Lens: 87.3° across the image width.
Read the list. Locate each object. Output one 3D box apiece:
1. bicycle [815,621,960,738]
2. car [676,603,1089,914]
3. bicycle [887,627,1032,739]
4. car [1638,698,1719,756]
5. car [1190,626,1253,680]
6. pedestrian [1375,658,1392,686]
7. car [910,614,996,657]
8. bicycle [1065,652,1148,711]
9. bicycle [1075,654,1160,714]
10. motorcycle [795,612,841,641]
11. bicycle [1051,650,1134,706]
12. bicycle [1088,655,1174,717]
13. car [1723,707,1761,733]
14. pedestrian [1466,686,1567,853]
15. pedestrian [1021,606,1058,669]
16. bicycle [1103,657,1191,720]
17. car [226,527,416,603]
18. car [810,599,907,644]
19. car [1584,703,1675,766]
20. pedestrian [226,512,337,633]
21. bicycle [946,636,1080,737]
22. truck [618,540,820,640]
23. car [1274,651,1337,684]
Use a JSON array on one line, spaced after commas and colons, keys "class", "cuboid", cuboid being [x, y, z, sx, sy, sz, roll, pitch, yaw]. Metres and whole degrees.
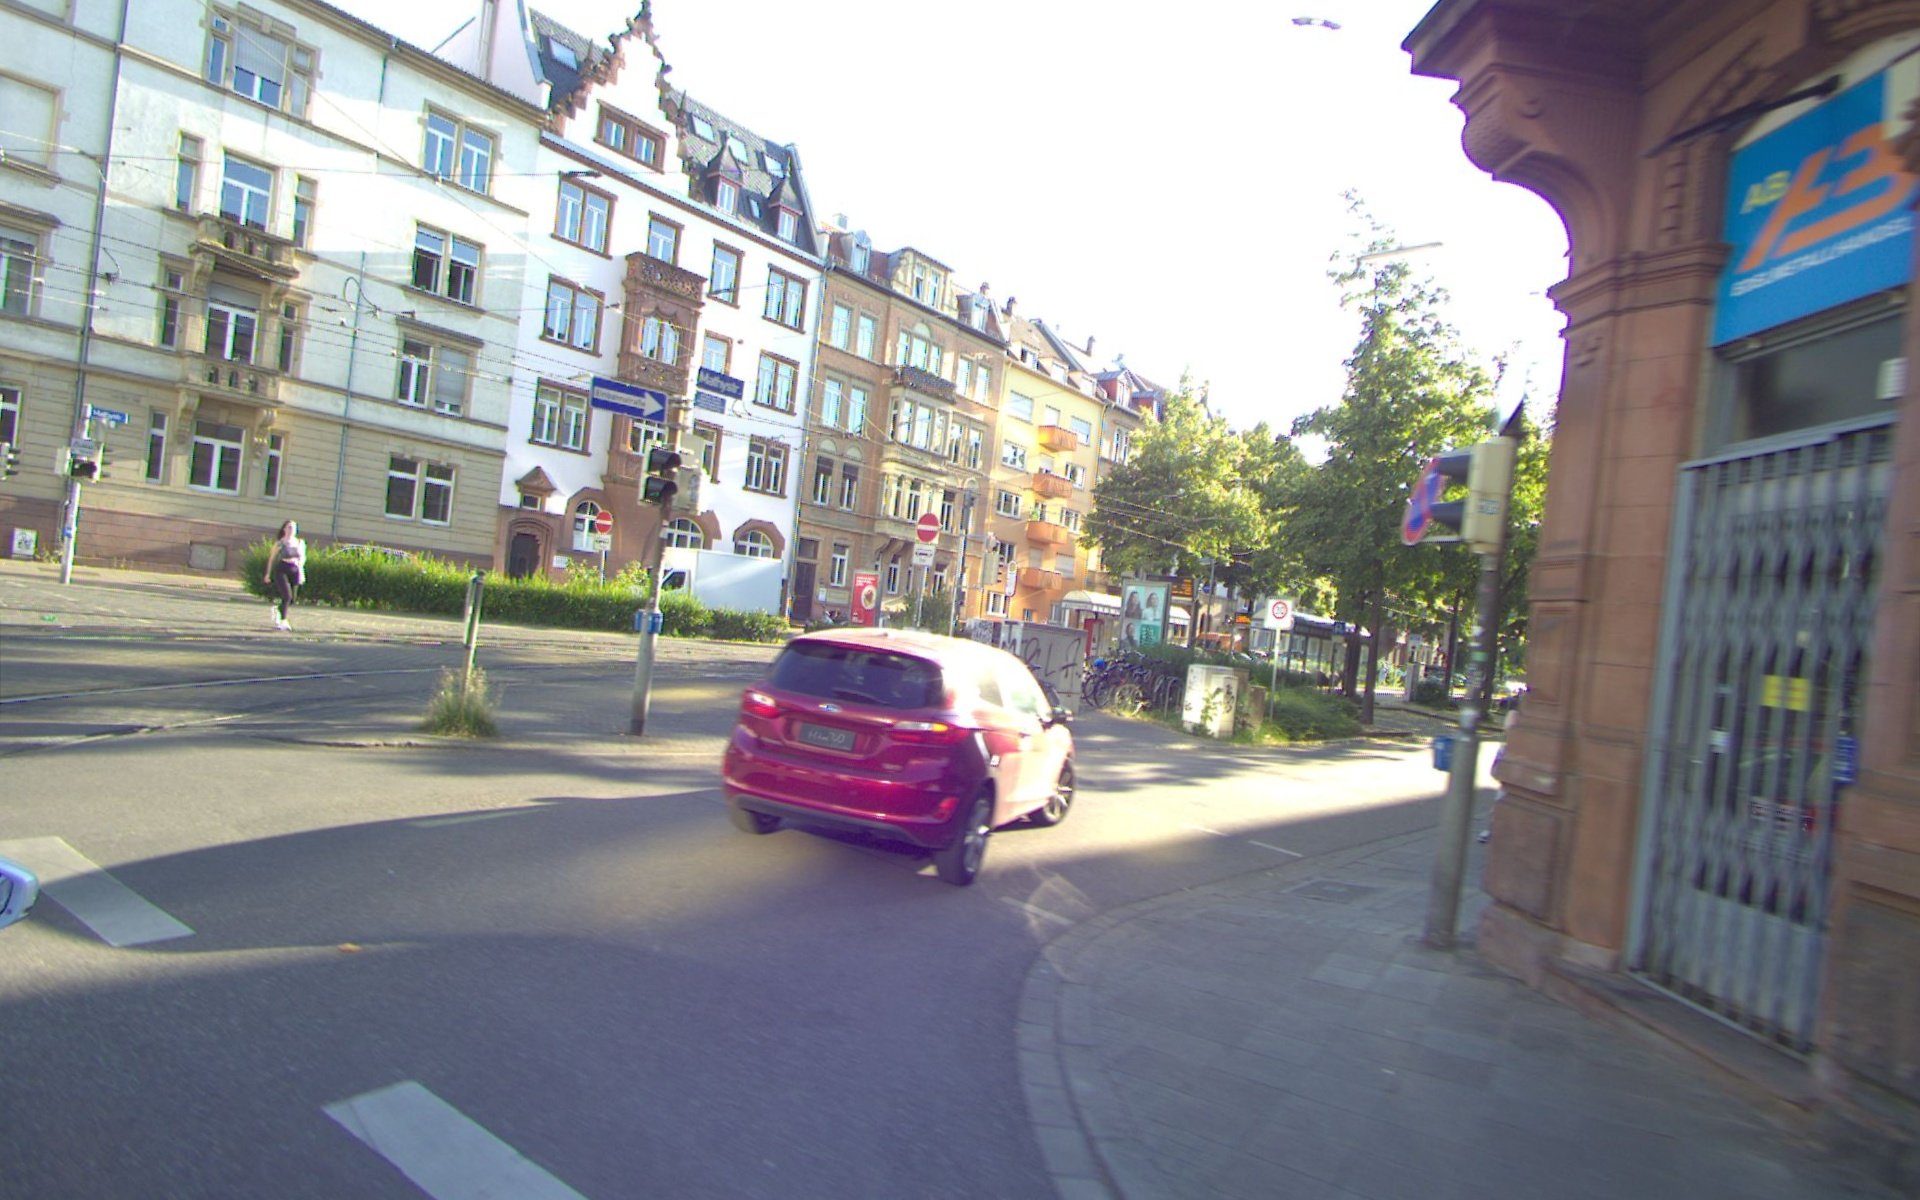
[{"class": "bicycle", "cuboid": [-1.023, 1.076, 13.908, 1.807, 1.279, 0.753, 10, 2, 38]}, {"class": "car", "cuboid": [-0.280, 0.992, 7.467, 1.666, 1.513, 3.583, 7, -2, 18]}, {"class": "bicycle", "cuboid": [-0.028, 1.203, 14.887, 1.938, 1.279, 0.753, 10, 2, 38]}, {"class": "car", "cuboid": [27.934, 4.916, 39.069, 1.949, 1.841, 3.963, 9, 0, 42]}, {"class": "car", "cuboid": [19.464, 3.965, 74.773, 1.918, 3.511, 5.673, 4, -2, 42]}, {"class": "pedestrian", "cuboid": [29.187, 4.963, 69.281, 0.674, 1.853, 0.602, 9, 3, 45]}, {"class": "car", "cuboid": [-0.316, 1.826, 51.697, 1.919, 1.792, 4.252, 4, -3, 42]}, {"class": "bicycle", "cuboid": [3.237, 1.802, 22.181, 1.780, 1.121, 0.496, 7, -1, -30]}, {"class": "bicycle", "cuboid": [3.385, 1.801, 21.524, 1.780, 1.121, 0.496, 7, -1, -30]}, {"class": "motorcycle", "cuboid": [-5.269, 0.990, 37.327, 1.730, 1.031, 0.605, -1, -5, 38]}, {"class": "bicycle", "cuboid": [3.111, 1.829, 23.623, 1.772, 1.121, 0.499, 7, 0, -15]}, {"class": "bicycle", "cuboid": [3.597, 1.814, 21.151, 1.780, 1.121, 0.496, 7, -1, -30]}, {"class": "car", "cuboid": [54.700, 8.393, 70.323, 1.674, 1.533, 3.563, 9, 0, 42]}, {"class": "pedestrian", "cuboid": [5.759, 1.721, 10.402, 0.753, 1.588, 0.742, 1, -5, 40]}, {"class": "pedestrian", "cuboid": [2.766, 1.301, 34.893, 0.602, 2.040, 0.853, 5, 3, -45]}, {"class": "bicycle", "cuboid": [3.864, 1.830, 20.721, 1.780, 1.121, 0.496, 7, -1, -30]}, {"class": "car", "cuboid": [-18.659, -0.986, 29.532, 1.918, 1.651, 4.253, 5, -2, 42]}, {"class": "car", "cuboid": [-4.697, 1.033, 46.986, 1.919, 1.651, 4.252, 4, -3, 42]}, {"class": "car", "cuboid": [20.566, 4.118, 30.860, 1.674, 1.533, 3.563, 9, 0, 42]}, {"class": "pedestrian", "cuboid": [-11.211, -0.440, 16.640, 1.065, 1.829, 1.024, 7, 0, 30]}, {"class": "bicycle", "cuboid": [0.842, 1.388, 16.375, 1.938, 1.279, 0.753, 10, 2, 38]}, {"class": "truck", "cuboid": [-9.441, -0.272, 40.536, 2.296, 3.116, 8.058, 5, -2, 37]}, {"class": "car", "cuboid": [24.492, 4.778, 71.529, 1.915, 1.948, 4.259, 6, -2, -18]}]
